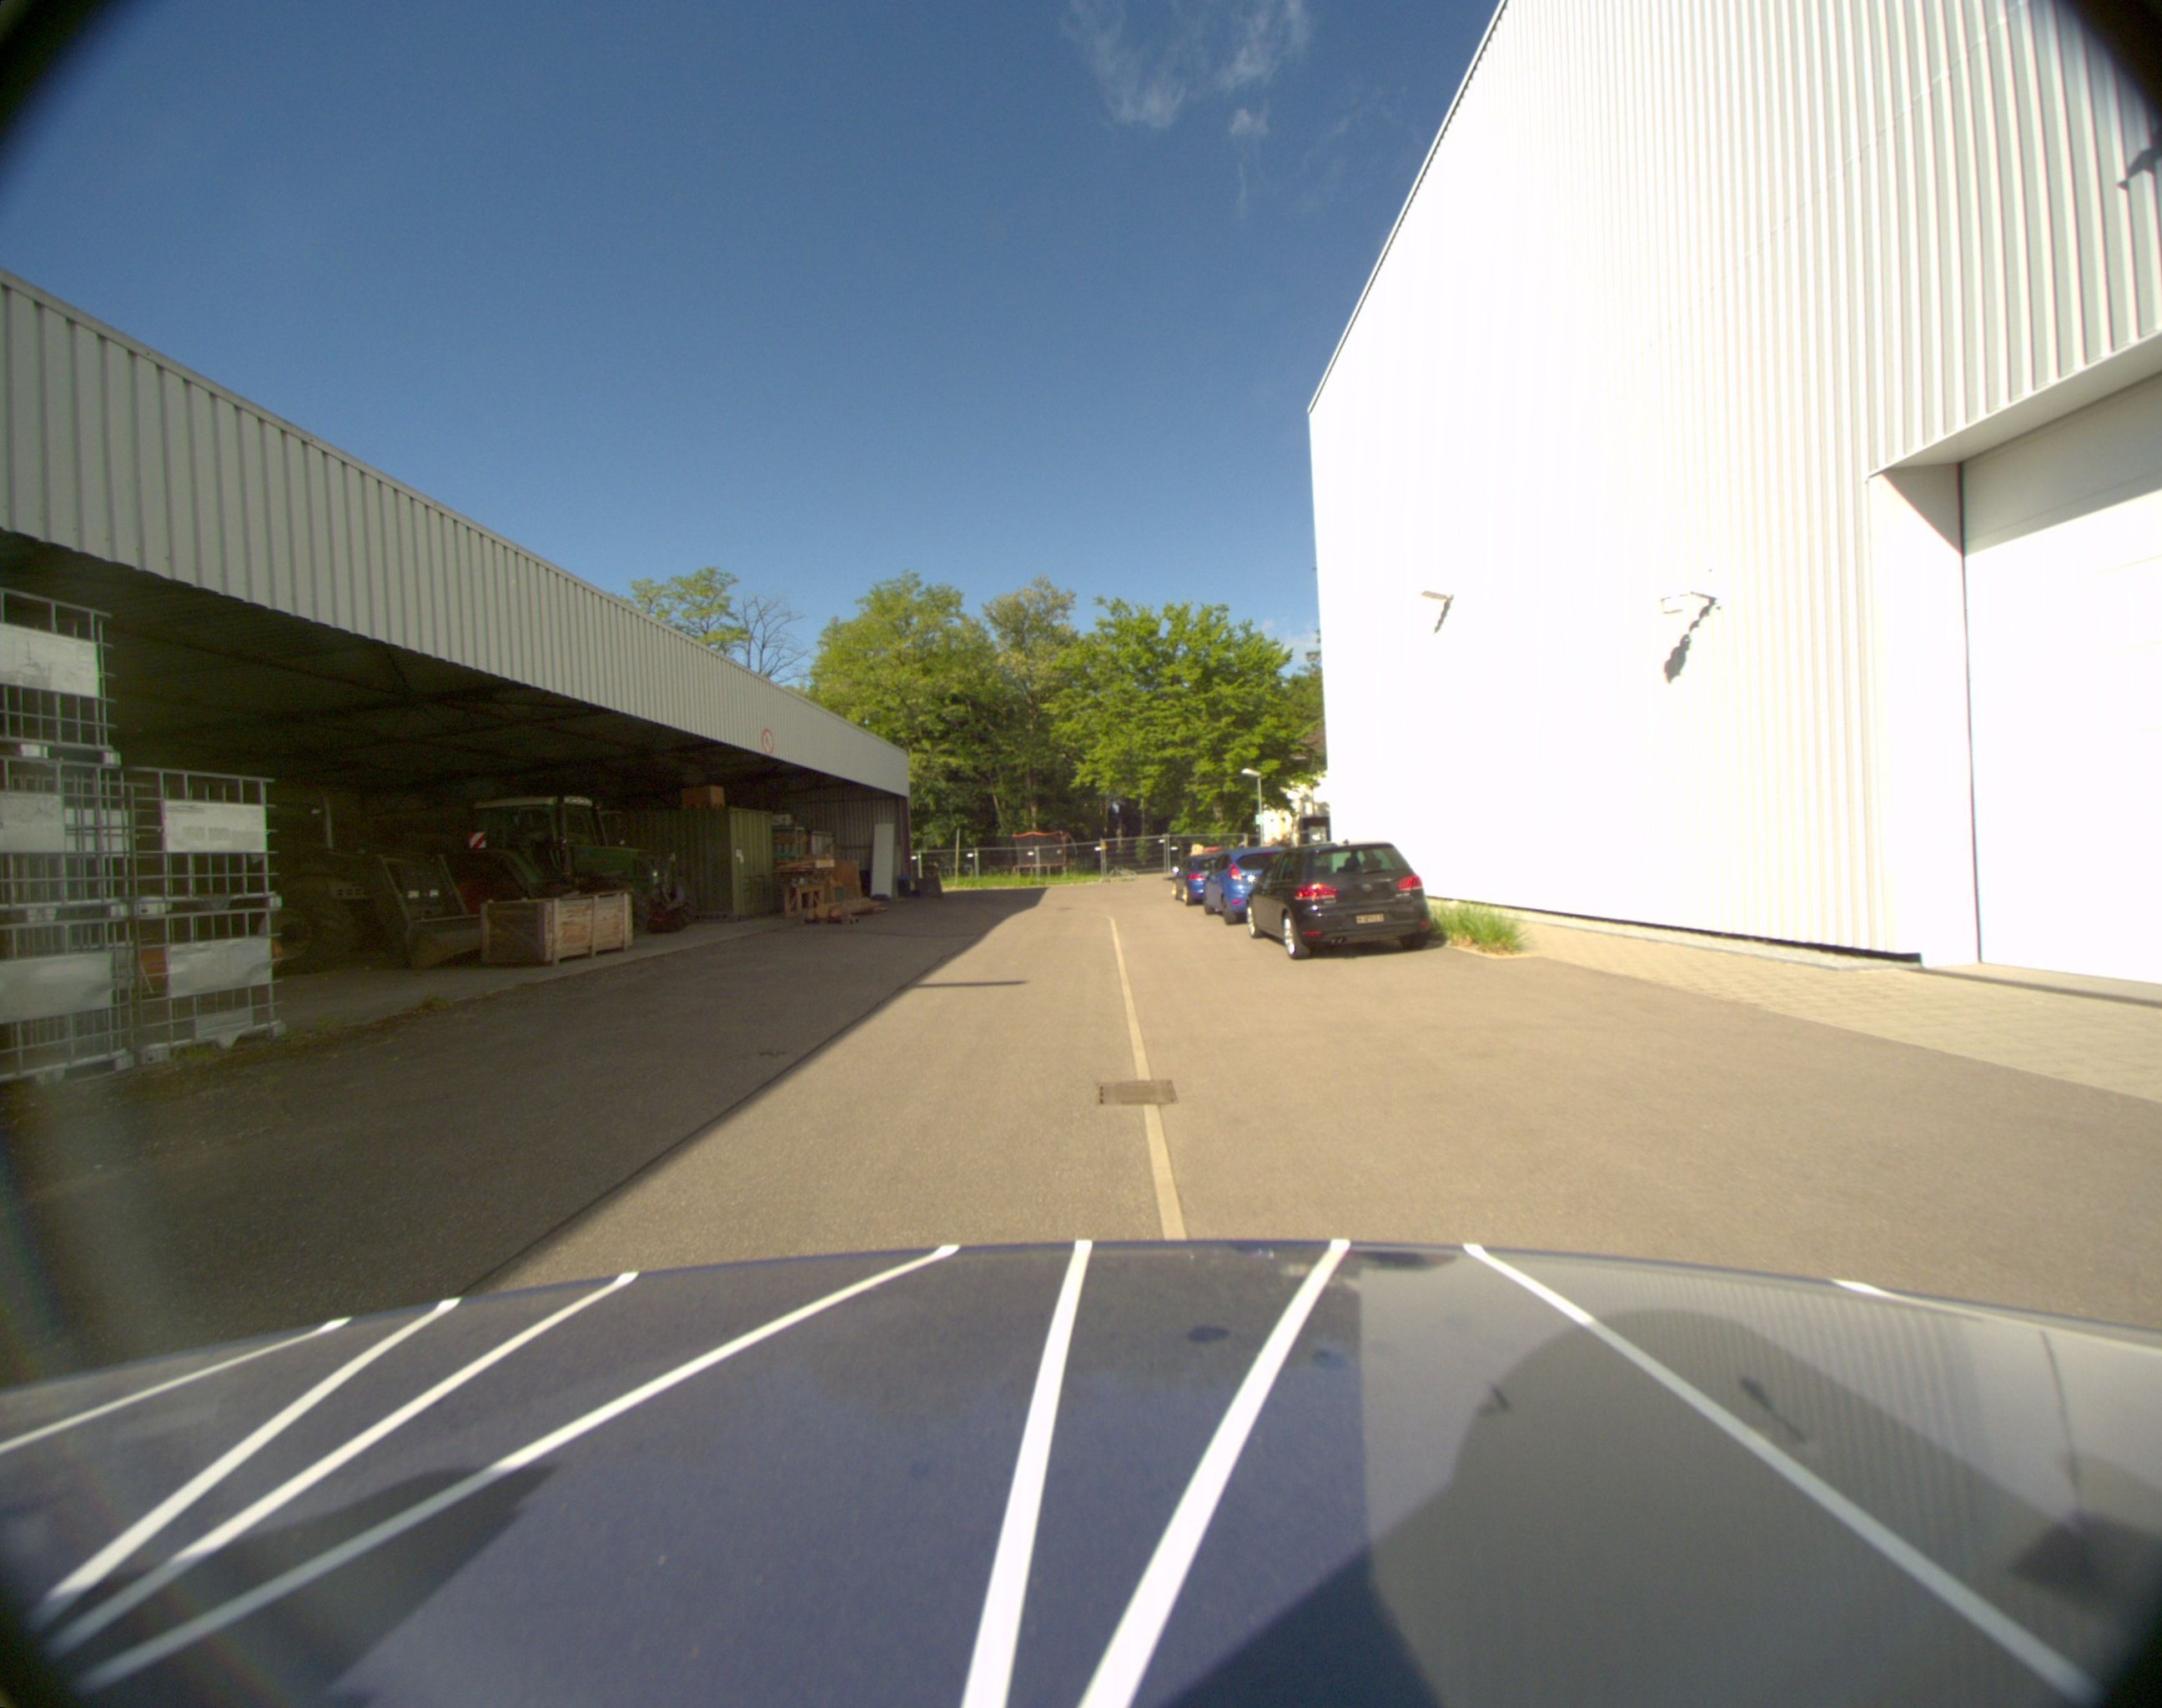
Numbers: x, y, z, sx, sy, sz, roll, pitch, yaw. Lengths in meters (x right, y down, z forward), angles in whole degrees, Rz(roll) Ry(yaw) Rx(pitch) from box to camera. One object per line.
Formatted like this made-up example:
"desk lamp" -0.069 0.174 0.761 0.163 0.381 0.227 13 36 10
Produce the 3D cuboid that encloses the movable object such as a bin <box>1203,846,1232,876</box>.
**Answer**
"movable object such as a bin" 6.865 0.328 38.276 1.093 1.431 1.230 -4 1 -4

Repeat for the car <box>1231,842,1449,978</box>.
"car" 3.499 0.654 11.175 1.759 1.491 4.294 -5 0 2

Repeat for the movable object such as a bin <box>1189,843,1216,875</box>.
"movable object such as a bin" 6.426 0.265 40.183 1.093 1.588 1.230 -3 3 -4

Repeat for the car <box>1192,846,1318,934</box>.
"car" 3.510 0.659 16.072 1.635 1.491 4.094 -5 0 0

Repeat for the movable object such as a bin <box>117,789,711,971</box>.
"movable object such as a bin" -12.922 0.487 15.372 9.214 2.893 3.212 -3 0 2

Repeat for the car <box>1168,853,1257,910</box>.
"car" 3.592 0.705 21.496 1.778 1.353 4.053 -4 0 1

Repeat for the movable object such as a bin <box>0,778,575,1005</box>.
"movable object such as a bin" -12.186 0.534 12.051 6.200 2.893 3.016 -3 1 2

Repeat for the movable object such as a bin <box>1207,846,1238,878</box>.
"movable object such as a bin" 6.878 0.369 36.943 1.093 1.424 1.230 -4 1 -4
